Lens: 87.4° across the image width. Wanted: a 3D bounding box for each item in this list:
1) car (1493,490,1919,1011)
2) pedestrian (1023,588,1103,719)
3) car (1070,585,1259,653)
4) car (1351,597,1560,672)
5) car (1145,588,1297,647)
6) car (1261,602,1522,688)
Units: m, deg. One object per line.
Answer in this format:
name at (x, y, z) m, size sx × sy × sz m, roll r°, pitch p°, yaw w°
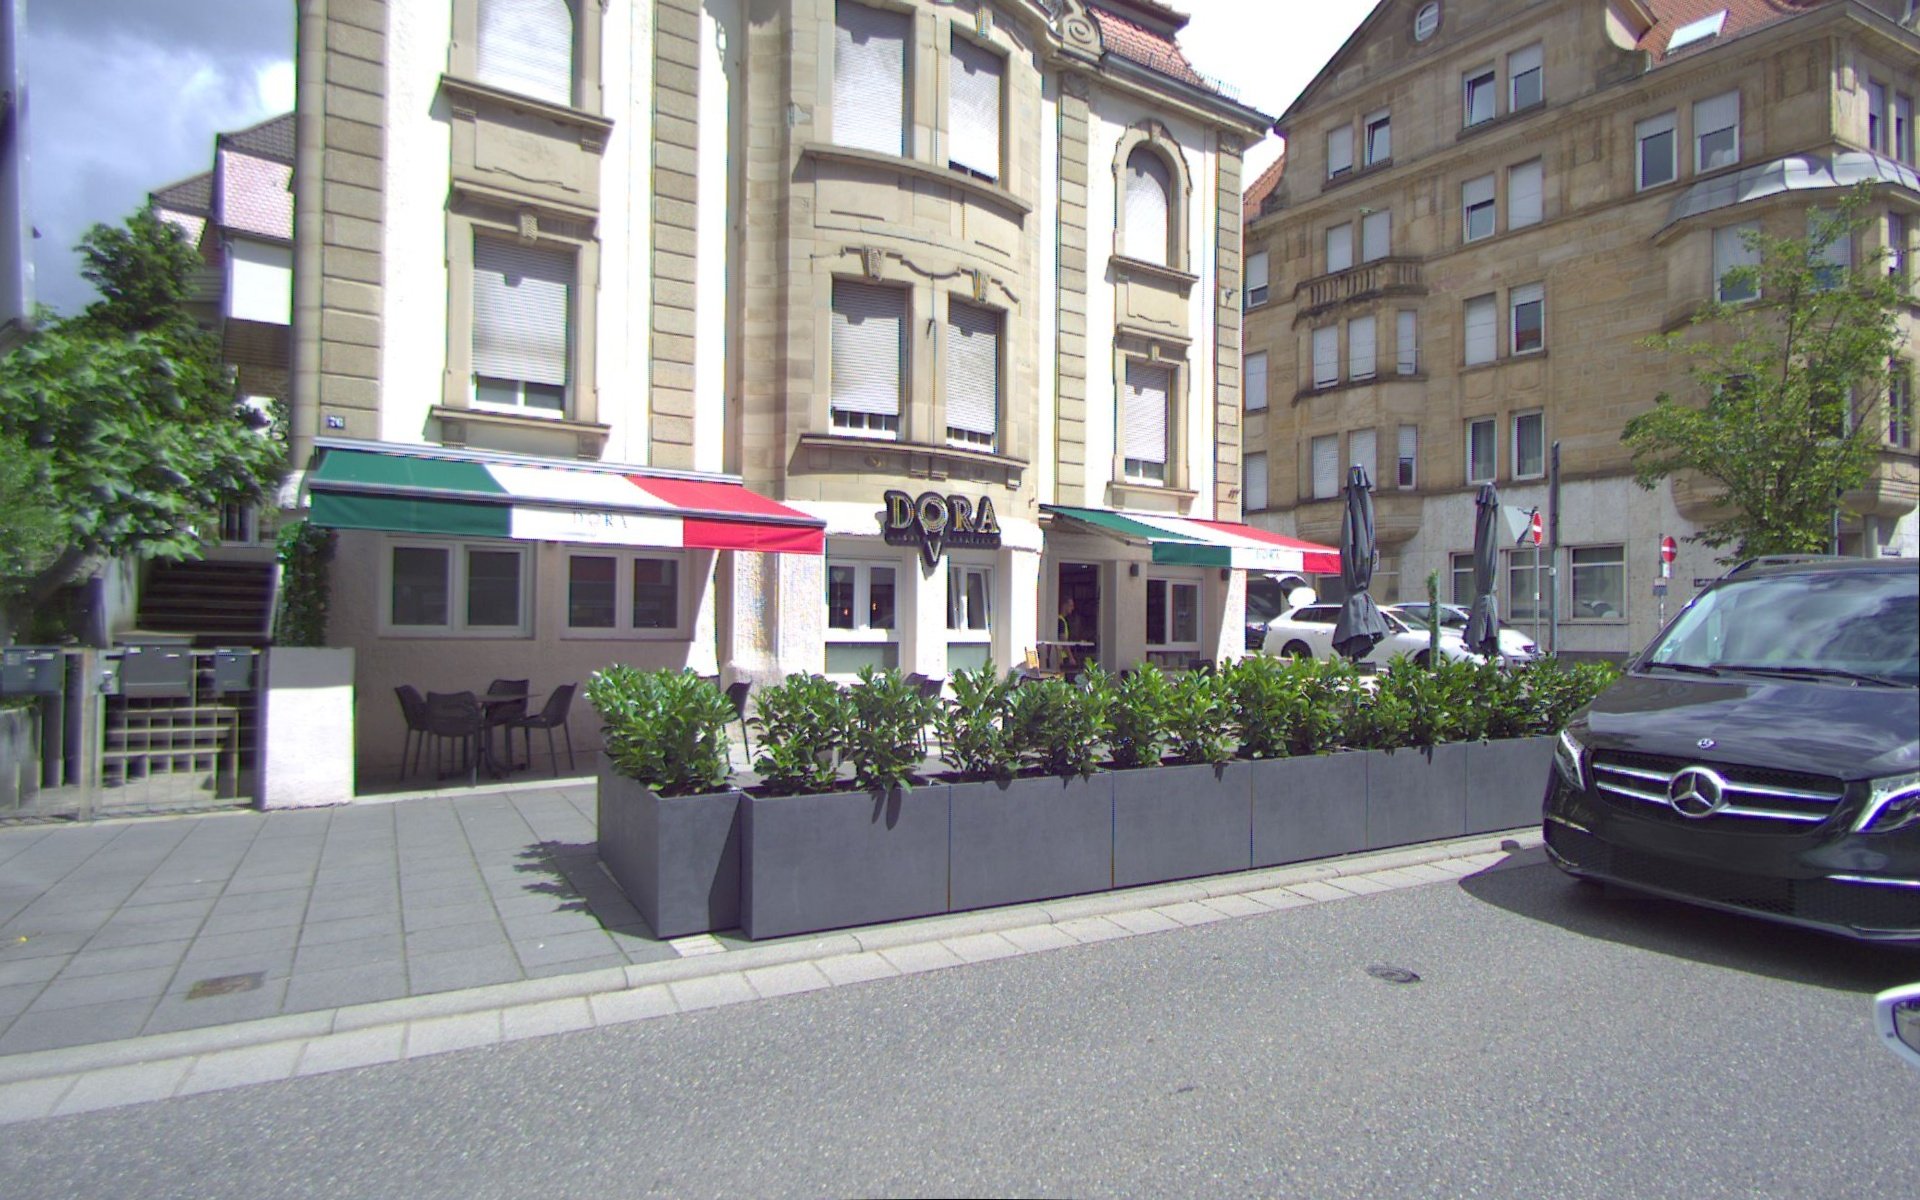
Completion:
car at (5.488, 0.579, 5.700) m, size 5.112 × 1.959 × 1.864 m, roll 0°, pitch -1°, yaw -29°
pedestrian at (1.465, 0.735, 14.304) m, size 0.799 × 1.780 × 0.798 m, roll 2°, pitch 0°, yaw 36°
car at (4.851, 0.419, 24.262) m, size 1.818 × 1.399 × 4.180 m, roll 2°, pitch 1°, yaw -42°
car at (12.101, 0.800, 24.770) m, size 1.980 × 1.582 × 4.178 m, roll 2°, pitch 1°, yaw -34°
car at (7.823, 0.497, 30.469) m, size 1.980 × 1.582 × 4.178 m, roll 2°, pitch 1°, yaw -34°
car at (8.498, 0.820, 20.067) m, size 1.985 × 1.399 × 4.333 m, roll 2°, pitch 1°, yaw -42°
